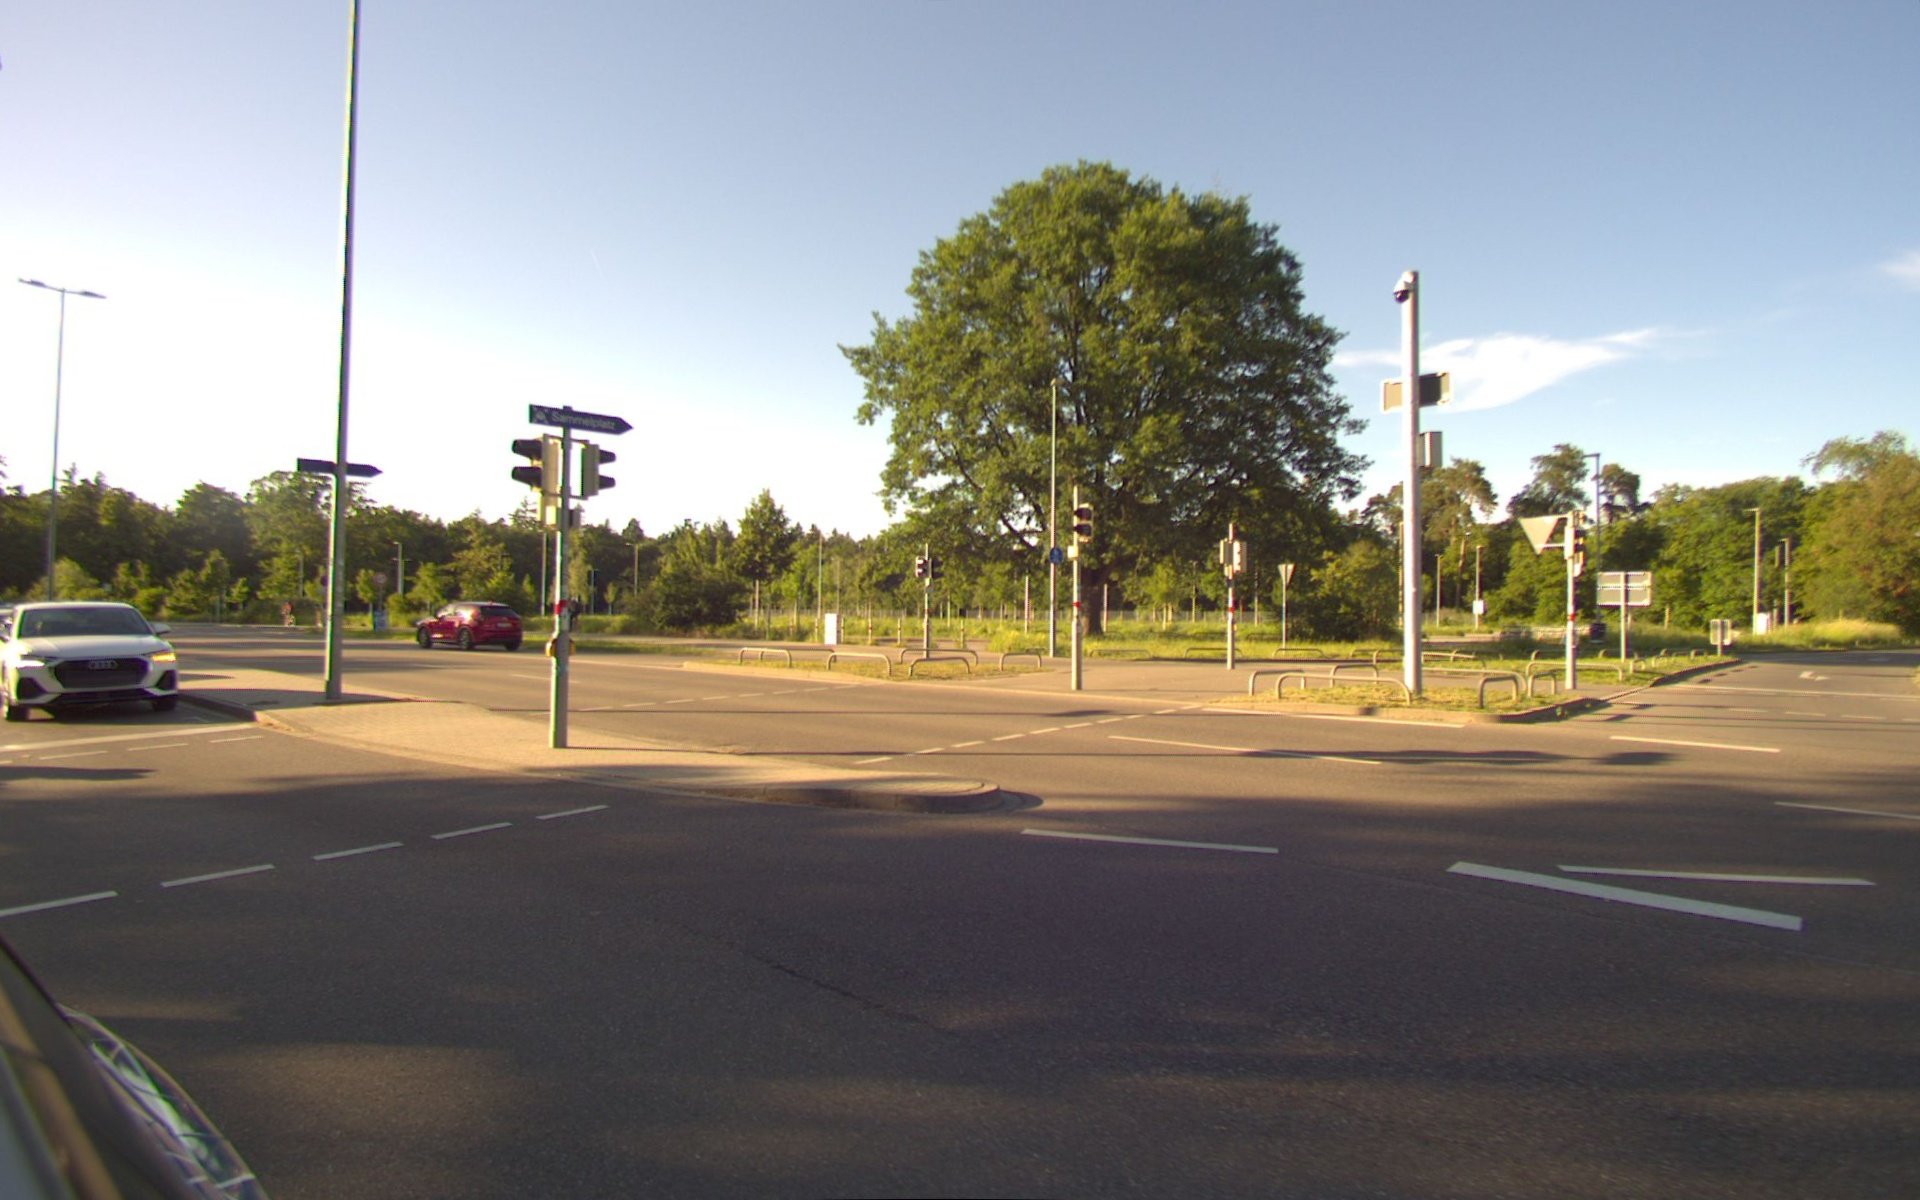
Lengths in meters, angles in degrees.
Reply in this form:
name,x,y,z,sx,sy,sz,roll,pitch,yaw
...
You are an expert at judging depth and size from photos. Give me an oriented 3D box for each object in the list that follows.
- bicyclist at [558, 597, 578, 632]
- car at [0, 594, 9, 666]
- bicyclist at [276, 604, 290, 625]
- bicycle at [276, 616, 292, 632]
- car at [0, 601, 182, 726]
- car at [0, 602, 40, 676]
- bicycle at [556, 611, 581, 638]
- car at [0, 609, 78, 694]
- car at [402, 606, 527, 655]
name,x,y,z,sx,sy,sz,roll,pitch,yaw
bicyclist,-18.526,0.684,47.814,0.672,1.623,0.801,-1,0,-41
car,-27.616,0.803,27.645,5.232,1.887,1.860,-1,0,41
bicyclist,-46.080,0.970,68.893,0.800,1.424,0.585,0,0,43
bicycle,-46.135,1.631,69.070,1.362,1.027,0.576,0,0,43
car,-12.719,0.794,14.445,4.299,1.524,1.814,-1,0,42
car,-22.394,0.858,22.956,4.318,1.595,1.774,-1,0,41
bicycle,-18.471,1.146,47.768,0.487,1.247,1.797,-1,0,-42
car,-17.714,0.894,18.681,4.317,1.438,1.639,-1,0,42
car,-17.025,0.986,34.731,4.561,1.565,1.870,0,0,34
